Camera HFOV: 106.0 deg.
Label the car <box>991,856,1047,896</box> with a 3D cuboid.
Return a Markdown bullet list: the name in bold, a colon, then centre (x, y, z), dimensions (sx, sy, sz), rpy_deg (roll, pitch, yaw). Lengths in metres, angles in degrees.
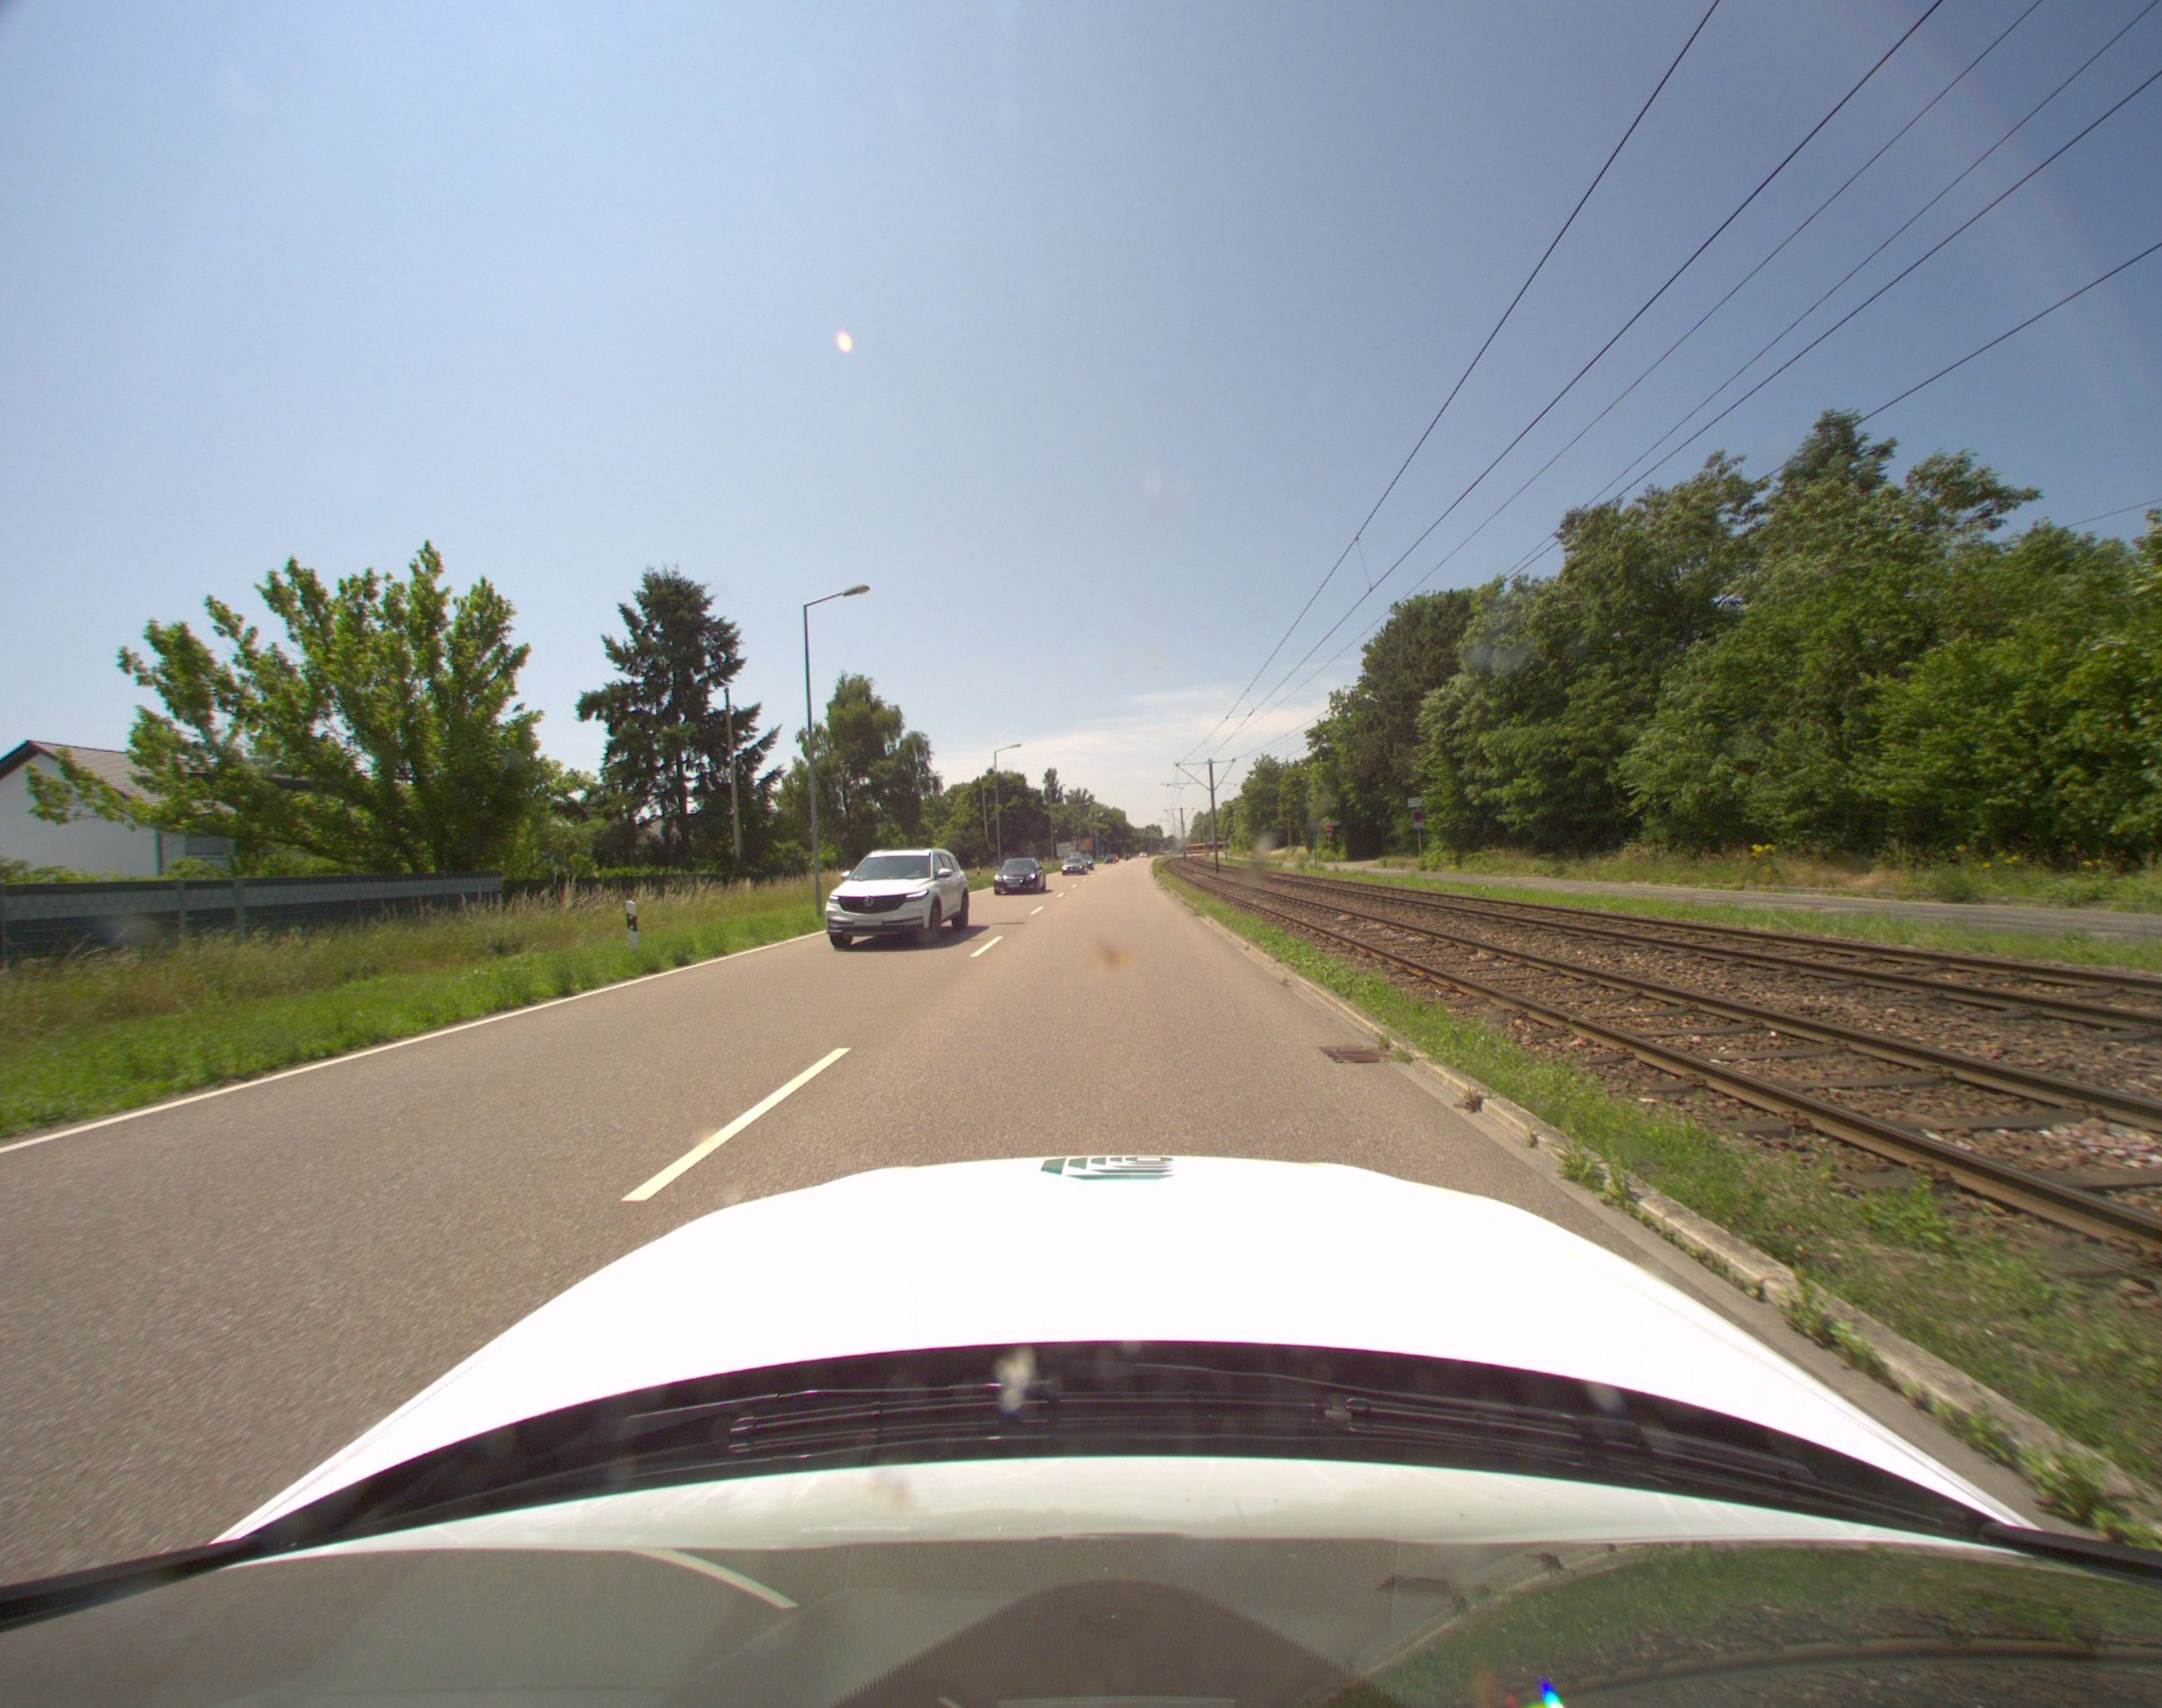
- **car**: centre (-2.564, 0.903, 34.843), dimensions (1.810, 1.528, 4.366), rpy_deg (-2, 0, 2)

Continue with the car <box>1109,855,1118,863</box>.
- **car**: centre (5.937, 0.879, 148.566), dimensions (1.620, 1.315, 4.367), rpy_deg (-2, 0, 3)

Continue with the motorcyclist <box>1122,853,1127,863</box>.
- **motorcyclist**: centre (8.990, 0.813, 167.844), dimensions (0.888, 1.905, 1.016), rpy_deg (-2, -1, 3)

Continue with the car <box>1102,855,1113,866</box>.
- **car**: centre (4.181, 1.010, 127.827), dimensions (1.621, 1.490, 4.366), rpy_deg (-2, 0, 2)

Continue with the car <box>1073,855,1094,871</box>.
- **car**: centre (0.247, 0.871, 80.365), dimensions (1.810, 1.538, 4.366), rpy_deg (-2, 0, 2)

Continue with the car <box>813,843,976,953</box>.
- **car**: centre (-3.502, 0.766, 16.286), dimensions (1.928, 1.796, 4.714), rpy_deg (-2, 0, 2)

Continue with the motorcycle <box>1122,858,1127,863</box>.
- **motorcycle**: centre (8.964, 1.369, 167.921), dimensions (0.966, 1.117, 2.735), rpy_deg (-2, 0, 4)

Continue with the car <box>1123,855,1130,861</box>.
- **car**: centre (11.501, 1.108, 206.619), dimensions (1.619, 1.395, 4.371), rpy_deg (-2, 0, 6)

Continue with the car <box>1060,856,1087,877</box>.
- **car**: centre (-0.540, 0.951, 64.226), dimensions (1.810, 1.493, 4.366), rpy_deg (-2, 0, 2)
